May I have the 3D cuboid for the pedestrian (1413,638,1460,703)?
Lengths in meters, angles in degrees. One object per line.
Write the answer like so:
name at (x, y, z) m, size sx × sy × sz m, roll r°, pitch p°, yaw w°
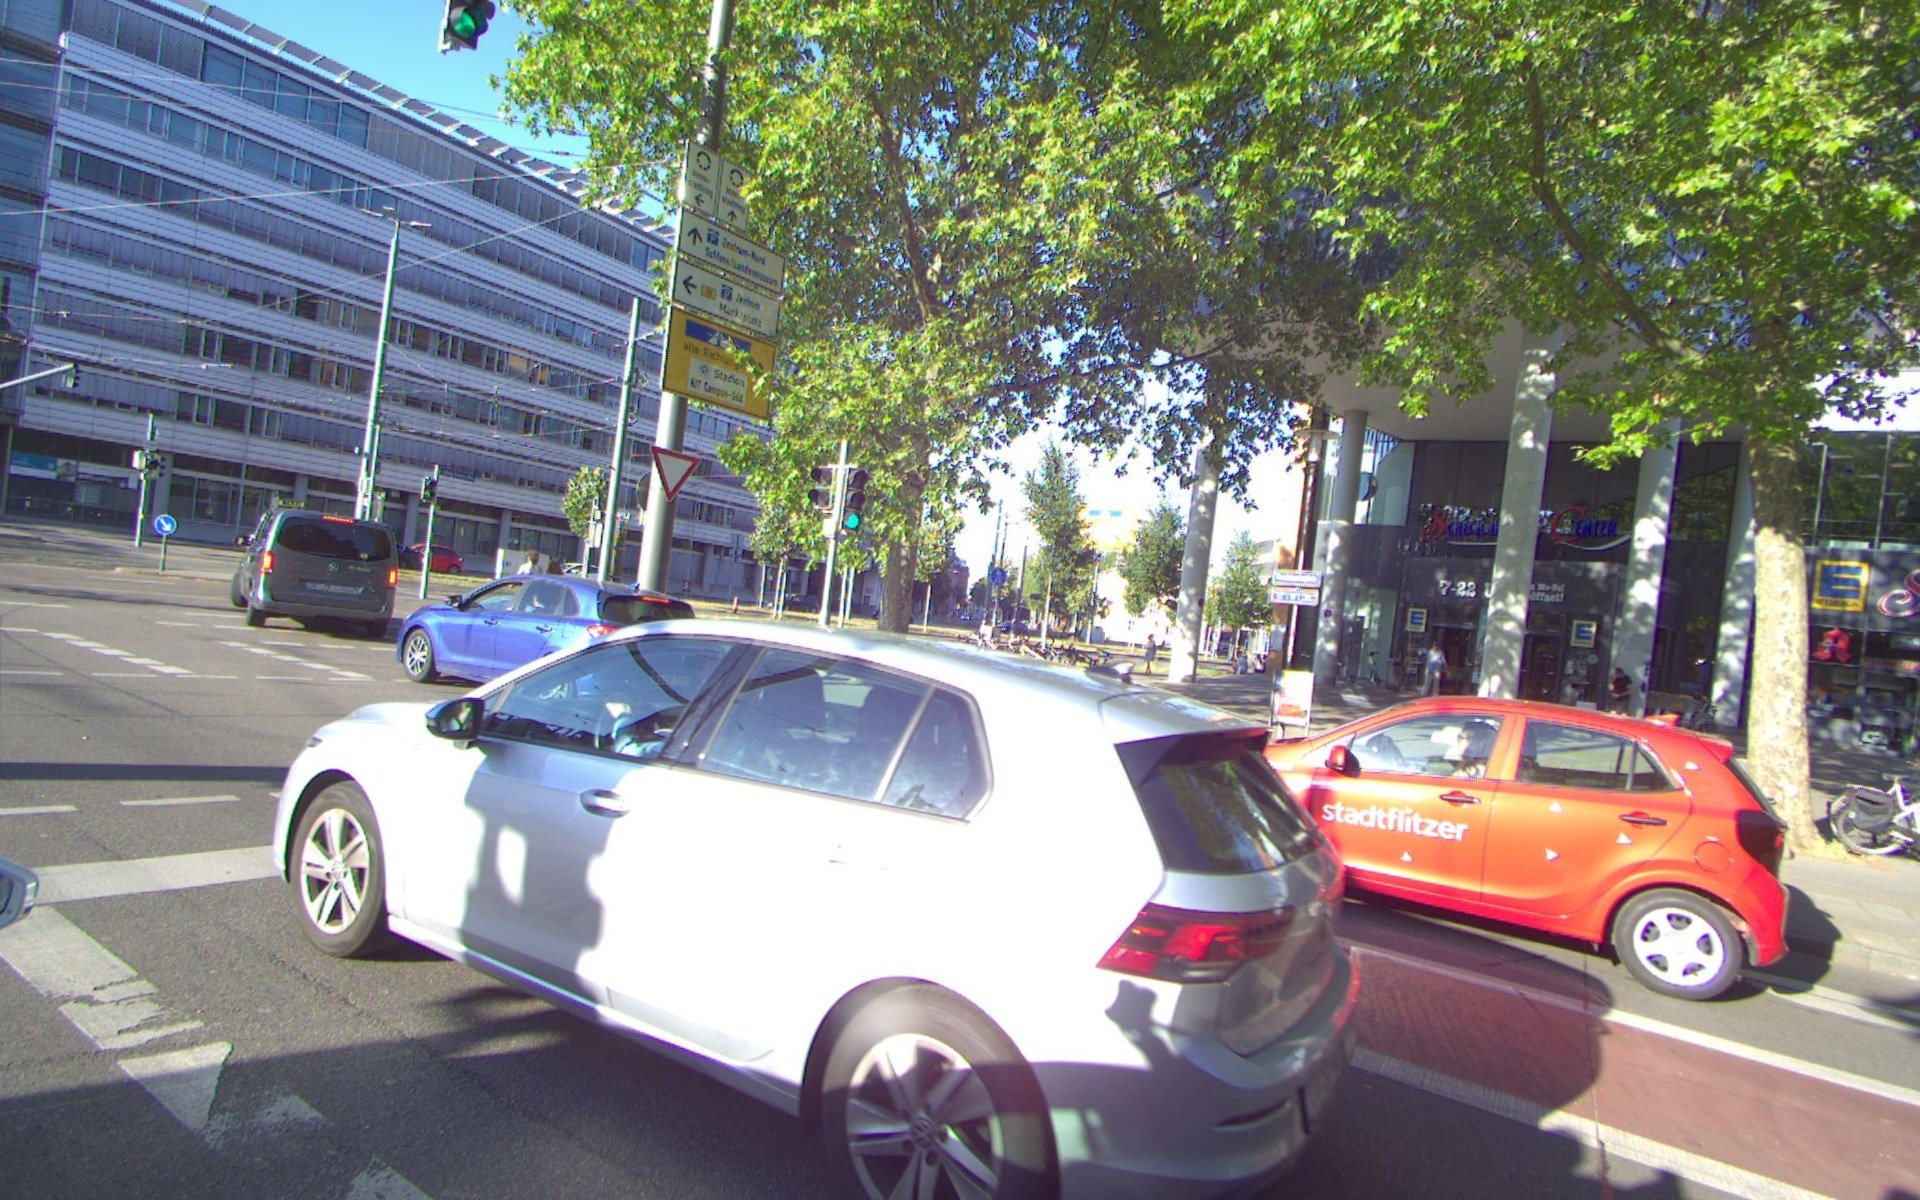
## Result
pedestrian at (15.045, 2.213, 31.760) m, size 0.800 × 1.913 × 0.871 m, roll 5°, pitch 1°, yaw -16°

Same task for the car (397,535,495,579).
car at (-26.391, -2.192, 51.781) m, size 1.769 × 1.569 × 3.990 m, roll 6°, pitch -2°, yaw 36°

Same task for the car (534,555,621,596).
car at (-20.843, -1.321, 54.959) m, size 1.852 × 1.614 × 3.991 m, roll 6°, pitch -2°, yaw 35°

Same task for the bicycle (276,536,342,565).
bicycle at (-30.067, -2.274, 46.510) m, size 0.627 × 1.035 × 2.410 m, roll 7°, pitch 0°, yaw 36°

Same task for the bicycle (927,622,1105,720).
bicycle at (0.904, 1.172, 16.959) m, size 2.896 × 1.252 × 0.705 m, roll 6°, pitch -1°, yaw 32°

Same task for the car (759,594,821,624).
car at (-12.104, 0.645, 71.682) m, size 1.852 × 1.614 × 4.121 m, roll 6°, pitch -2°, yaw 35°

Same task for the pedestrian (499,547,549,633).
pedestrian at (-9.581, -0.222, 22.105) m, size 0.674 × 1.781 × 0.734 m, roll 6°, pitch 1°, yaw -38°

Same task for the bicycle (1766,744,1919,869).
bicycle at (11.795, 2.571, 11.613) m, size 3.758 × 1.234 × 0.792 m, roll 5°, pitch -2°, yaw 36°

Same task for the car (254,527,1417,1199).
car at (-0.672, 0.721, 3.702) m, size 3.935 × 1.435 × 1.750 m, roll 8°, pitch -1°, yaw 34°

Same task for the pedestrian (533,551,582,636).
pedestrian at (-9.032, -0.148, 22.559) m, size 0.680 × 1.781 × 0.734 m, roll 6°, pitch 1°, yaw -38°

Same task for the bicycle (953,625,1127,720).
bicycle at (1.365, 1.244, 17.658) m, size 2.896 × 1.250 × 0.698 m, roll 6°, pitch -4°, yaw 31°

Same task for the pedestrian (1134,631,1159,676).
pedestrian at (6.973, 2.004, 37.542) m, size 0.569 × 1.612 × 0.595 m, roll 7°, pitch 0°, yaw 32°

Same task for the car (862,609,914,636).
car at (-5.752, 1.840, 80.559) m, size 1.852 × 1.614 × 4.121 m, roll 6°, pitch -2°, yaw 35°

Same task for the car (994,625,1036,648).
car at (5.058, 3.362, 92.310) m, size 1.852 × 1.614 × 4.121 m, roll 6°, pitch -2°, yaw 35°

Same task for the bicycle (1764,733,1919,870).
bicycle at (11.312, 2.480, 11.013) m, size 3.757 × 1.235 × 0.727 m, roll 10°, pitch 1°, yaw 38°

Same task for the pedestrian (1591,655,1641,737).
pedestrian at (17.506, 2.567, 26.842) m, size 0.847 × 2.037 × 1.021 m, roll 6°, pitch -1°, yaw 38°

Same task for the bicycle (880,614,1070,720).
bicycle at (0.193, 1.021, 15.711) m, size 2.896 × 1.252 × 0.705 m, roll 6°, pitch -1°, yaw 31°

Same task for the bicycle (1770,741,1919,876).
bicycle at (10.878, 2.362, 10.427) m, size 3.759 × 1.234 × 0.756 m, roll 5°, pitch -2°, yaw 38°

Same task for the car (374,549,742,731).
car at (-4.720, 0.418, 11.636) m, size 4.143 × 1.476 × 1.750 m, roll 7°, pitch -1°, yaw 33°

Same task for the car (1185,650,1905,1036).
car at (3.498, 1.322, 6.573) m, size 3.538 × 1.476 × 1.493 m, roll 7°, pitch -1°, yaw 32°

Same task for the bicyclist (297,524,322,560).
bicyclist at (-30.046, -2.675, 46.478) m, size 0.604 × 1.521 × 0.663 m, roll 7°, pitch 1°, yaw 37°

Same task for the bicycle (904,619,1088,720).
bicycle at (0.550, 1.102, 16.329) m, size 2.896 × 1.243 × 0.686 m, roll 6°, pitch -1°, yaw 31°

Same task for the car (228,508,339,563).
car at (-33.946, -3.213, 50.584) m, size 1.967 × 2.037 × 3.995 m, roll 6°, pitch -2°, yaw 32°

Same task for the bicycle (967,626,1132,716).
bicycle at (1.598, 1.269, 18.447) m, size 2.896 × 1.253 × 0.704 m, roll 6°, pitch 1°, yaw 31°

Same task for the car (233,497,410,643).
car at (-10.905, -0.558, 17.006) m, size 1.991 × 1.919 × 4.833 m, roll 8°, pitch -1°, yaw -37°

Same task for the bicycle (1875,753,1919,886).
bicycle at (10.334, 2.250, 9.384) m, size 2.514 × 1.234 × 0.756 m, roll 5°, pitch -2°, yaw 37°
